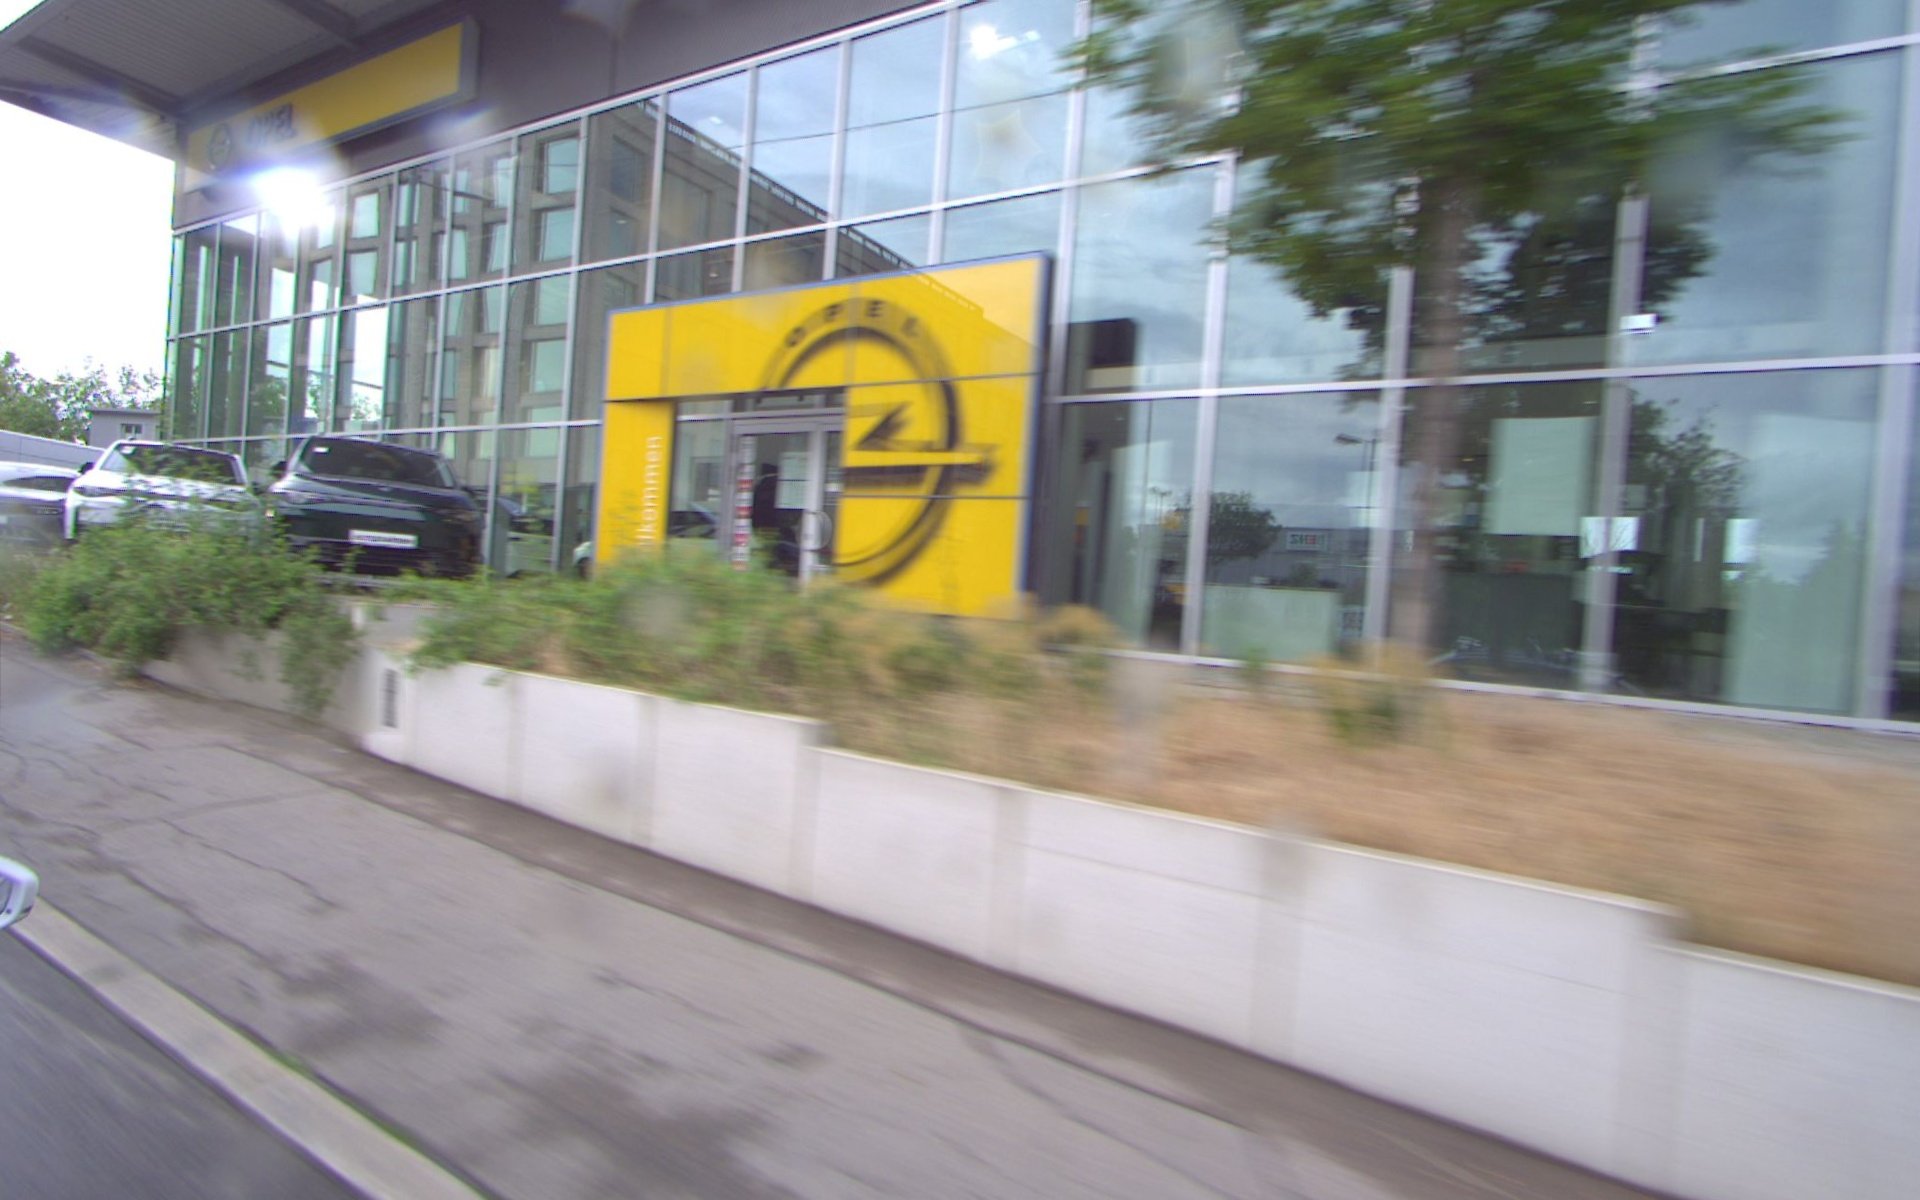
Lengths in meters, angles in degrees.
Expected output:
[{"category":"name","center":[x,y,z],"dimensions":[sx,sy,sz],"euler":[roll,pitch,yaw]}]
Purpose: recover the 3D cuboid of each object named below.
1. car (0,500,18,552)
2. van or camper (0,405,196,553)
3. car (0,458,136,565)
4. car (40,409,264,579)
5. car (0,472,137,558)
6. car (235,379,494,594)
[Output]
[{"category":"car","center":[-28.957,-2.306,27.714],"dimensions":[1.864,1.446,3.990],"euler":[6,0,32]},{"category":"van or camper","center":[-21.101,-2.817,22.541],"dimensions":[2.313,2.757,5.744],"euler":[6,-1,31]},{"category":"car","center":[-15.036,-1.415,16.261],"dimensions":[1.894,1.474,4.536],"euler":[3,1,-30]},{"category":"car","center":[-10.575,-1.291,13.499],"dimensions":[1.980,1.733,4.535],"euler":[3,1,-35]},{"category":"car","center":[-18.330,-1.647,19.342],"dimensions":[1.883,1.473,4.507],"euler":[4,1,-11]},{"category":"car","center":[-6.532,-1.090,11.076],"dimensions":[1.977,1.733,4.392],"euler":[3,1,-32]}]
